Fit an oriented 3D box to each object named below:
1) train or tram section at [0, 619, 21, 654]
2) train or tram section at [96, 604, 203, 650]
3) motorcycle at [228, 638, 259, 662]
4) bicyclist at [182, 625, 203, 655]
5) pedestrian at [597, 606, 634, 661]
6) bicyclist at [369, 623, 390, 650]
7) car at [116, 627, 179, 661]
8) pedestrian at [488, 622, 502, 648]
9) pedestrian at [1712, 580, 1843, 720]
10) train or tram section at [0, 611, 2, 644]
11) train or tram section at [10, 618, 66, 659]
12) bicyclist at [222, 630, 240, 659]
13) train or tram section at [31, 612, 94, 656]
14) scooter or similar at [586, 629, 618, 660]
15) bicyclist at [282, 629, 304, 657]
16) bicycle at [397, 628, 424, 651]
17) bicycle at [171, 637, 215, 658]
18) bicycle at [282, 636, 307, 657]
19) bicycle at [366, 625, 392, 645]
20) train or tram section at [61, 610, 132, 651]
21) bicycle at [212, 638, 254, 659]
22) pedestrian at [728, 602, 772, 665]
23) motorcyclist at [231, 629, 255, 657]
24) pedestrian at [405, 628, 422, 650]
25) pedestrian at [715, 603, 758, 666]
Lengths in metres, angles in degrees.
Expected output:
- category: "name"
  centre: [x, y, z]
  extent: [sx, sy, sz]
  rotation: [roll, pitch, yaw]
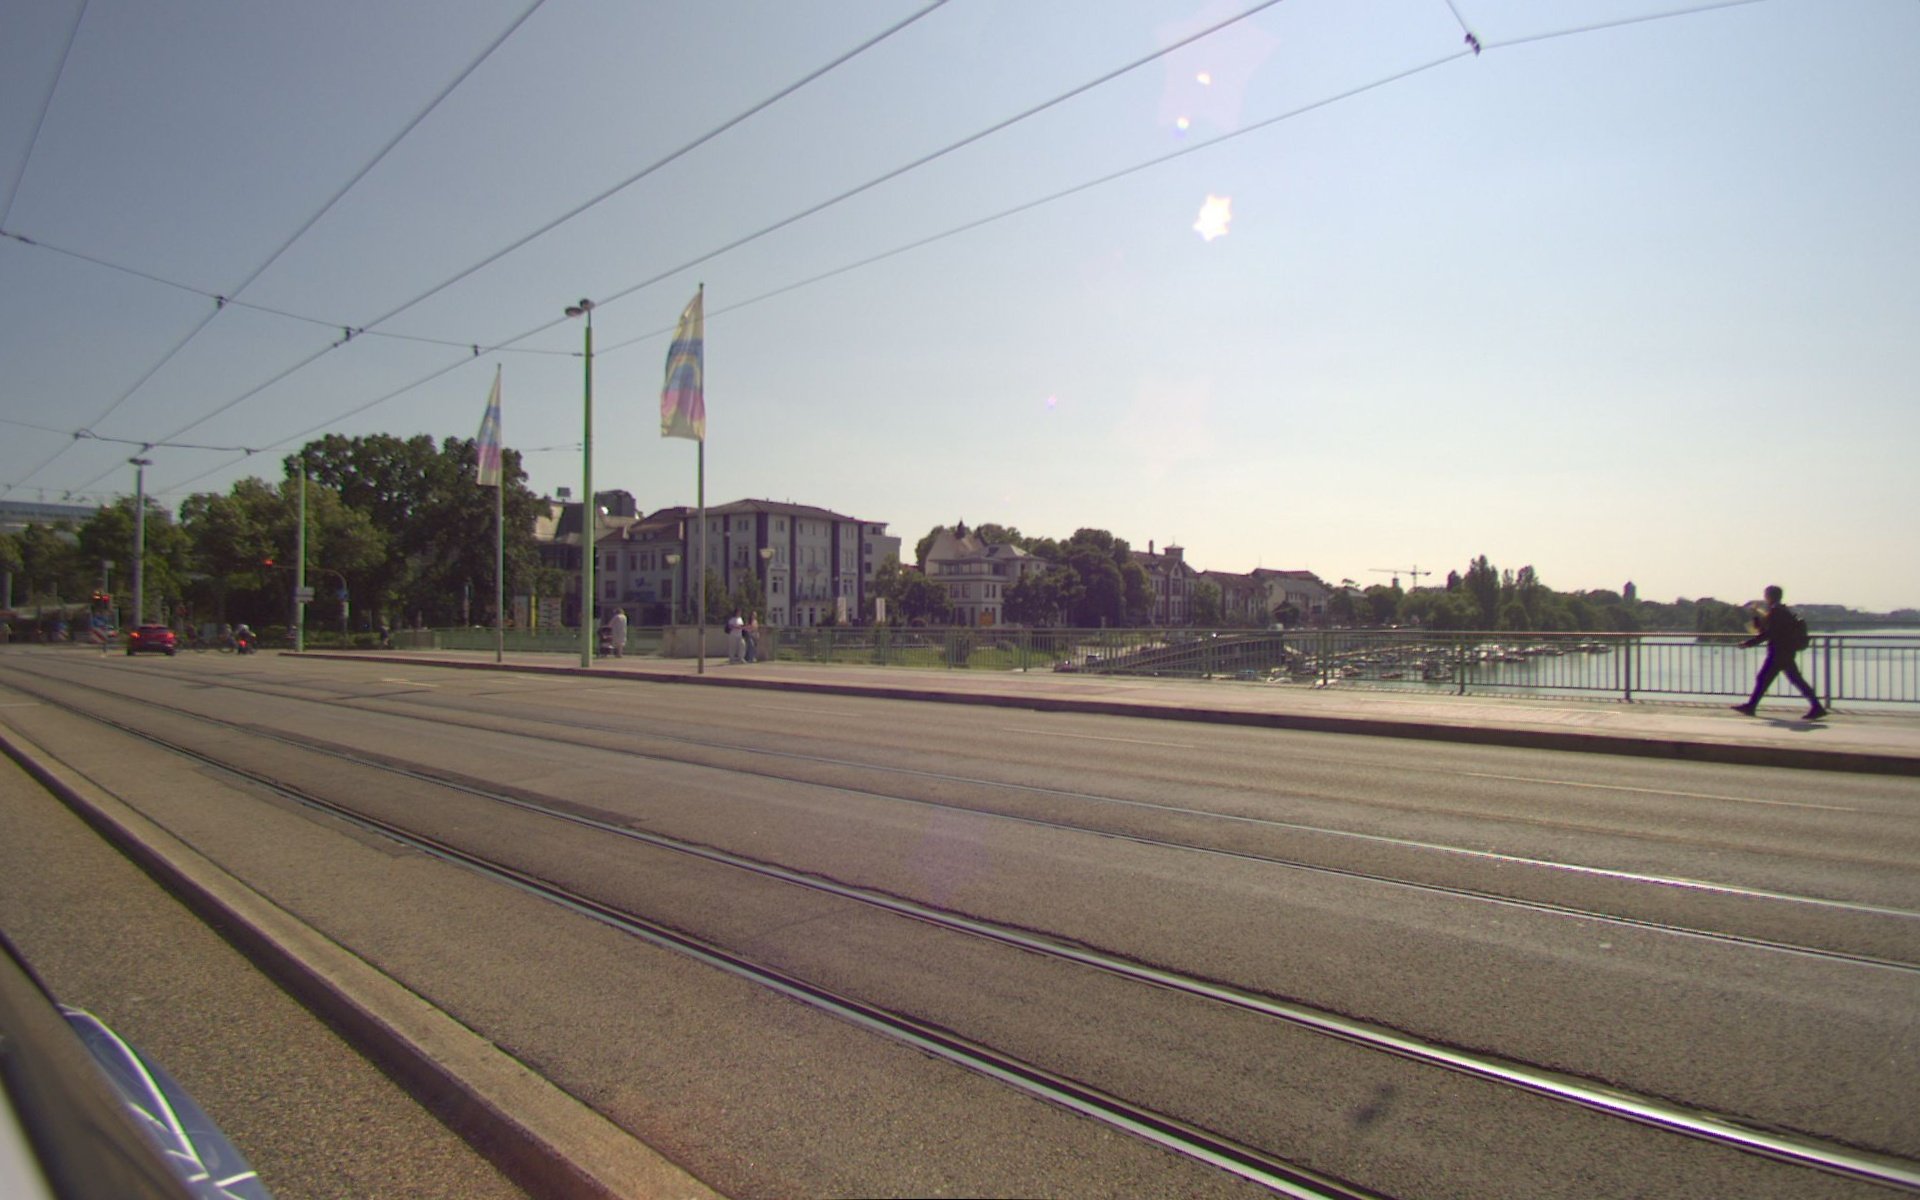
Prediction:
- category: "train or tram section"
  centre: [-98.331, 3.720, 103.201]
  extent: [5.875, 3.429, 2.735]
  rotation: [-2, -3, 36]
- category: "train or tram section"
  centre: [-72.548, 2.389, 90.459]
  extent: [11.785, 3.806, 2.456]
  rotation: [1, -4, 26]
- category: "motorcycle"
  centre: [-37.312, 2.619, 52.665]
  extent: [1.950, 1.033, 0.836]
  rotation: [-9, -5, 40]
- category: "bicyclist"
  centre: [-42.997, 2.232, 56.717]
  extent: [0.865, 1.621, 0.774]
  rotation: [1, -1, -32]
- category: "pedestrian"
  centre: [-12.120, 1.162, 35.610]
  extent: [0.974, 1.867, 0.731]
  rotation: [-2, 1, 39]
- category: "bicyclist"
  centre: [-35.014, 2.181, 61.062]
  extent: [0.771, 1.621, 0.868]
  rotation: [-1, -1, 41]
- category: "car"
  centre: [-39.469, 2.091, 49.139]
  extent: [1.970, 1.526, 4.192]
  rotation: [1, -1, -44]
- category: "pedestrian"
  centre: [-33.204, 2.508, 72.208]
  extent: [0.686, 1.806, 0.701]
  rotation: [0, -2, -1]
- category: "pedestrian"
  centre: [11.008, 0.645, 13.659]
  extent: [1.294, 1.771, 1.086]
  rotation: [-2, -2, 39]
- category: "train or tram section"
  centre: [-105.915, 2.985, 108.511]
  extent: [12.393, 3.429, 2.734]
  rotation: [-2, -3, 38]
- category: "train or tram section"
  centre: [-95.960, 4.009, 105.234]
  extent: [9.149, 3.806, 2.515]
  rotation: [-5, -4, 36]
- category: "bicyclist"
  centre: [-40.996, 2.507, 56.932]
  extent: [0.759, 1.621, 0.882]
  rotation: [1, -1, -34]
- category: "train or tram section"
  centre: [-88.935, 3.374, 100.247]
  extent: [9.144, 3.806, 2.516]
  rotation: [-5, -3, 34]
- category: "scooter or similar"
  centre: [-12.804, 1.587, 36.205]
  extent: [0.832, 1.037, 0.731]
  rotation: [-2, 1, 39]
- category: "bicyclist"
  centre: [-37.985, 2.454, 57.673]
  extent: [0.772, 1.621, 0.867]
  rotation: [-4, -5, 44]
- category: "bicycle"
  centre: [-36.381, 2.618, 66.987]
  extent: [2.161, 1.410, 0.698]
  rotation: [-2, 2, 40]
- category: "bicycle"
  centre: [-42.947, 2.657, 56.711]
  extent: [1.888, 1.122, 0.763]
  rotation: [1, -1, -34]
- category: "bicycle"
  centre: [-37.931, 2.679, 57.632]
  extent: [1.920, 1.122, 0.750]
  rotation: [-4, -1, 44]
- category: "bicycle"
  centre: [-35.149, 2.112, 61.218]
  extent: [1.919, 1.122, 0.750]
  rotation: [-1, -1, 42]
- category: "train or tram section"
  centre: [-81.304, 2.914, 95.189]
  extent: [9.588, 3.709, 2.385]
  rotation: [-2, -3, 33]
- category: "bicycle"
  centre: [-40.924, 2.703, 56.979]
  extent: [1.888, 1.122, 0.763]
  rotation: [1, -1, -34]
- category: "pedestrian"
  centre: [-6.344, 0.990, 30.515]
  extent: [1.120, 1.863, 0.731]
  rotation: [-2, -1, 39]
- category: "motorcyclist"
  centre: [-37.318, 2.238, 52.675]
  extent: [0.897, 1.412, 0.836]
  rotation: [-1, 0, 39]
- category: "pedestrian"
  centre: [-36.003, 2.561, 66.652]
  extent: [0.899, 1.466, 0.735]
  rotation: [-1, -1, 41]
- category: "pedestrian"
  centre: [-6.619, 1.005, 29.980]
  extent: [0.956, 1.797, 0.731]
  rotation: [-2, 1, 39]
